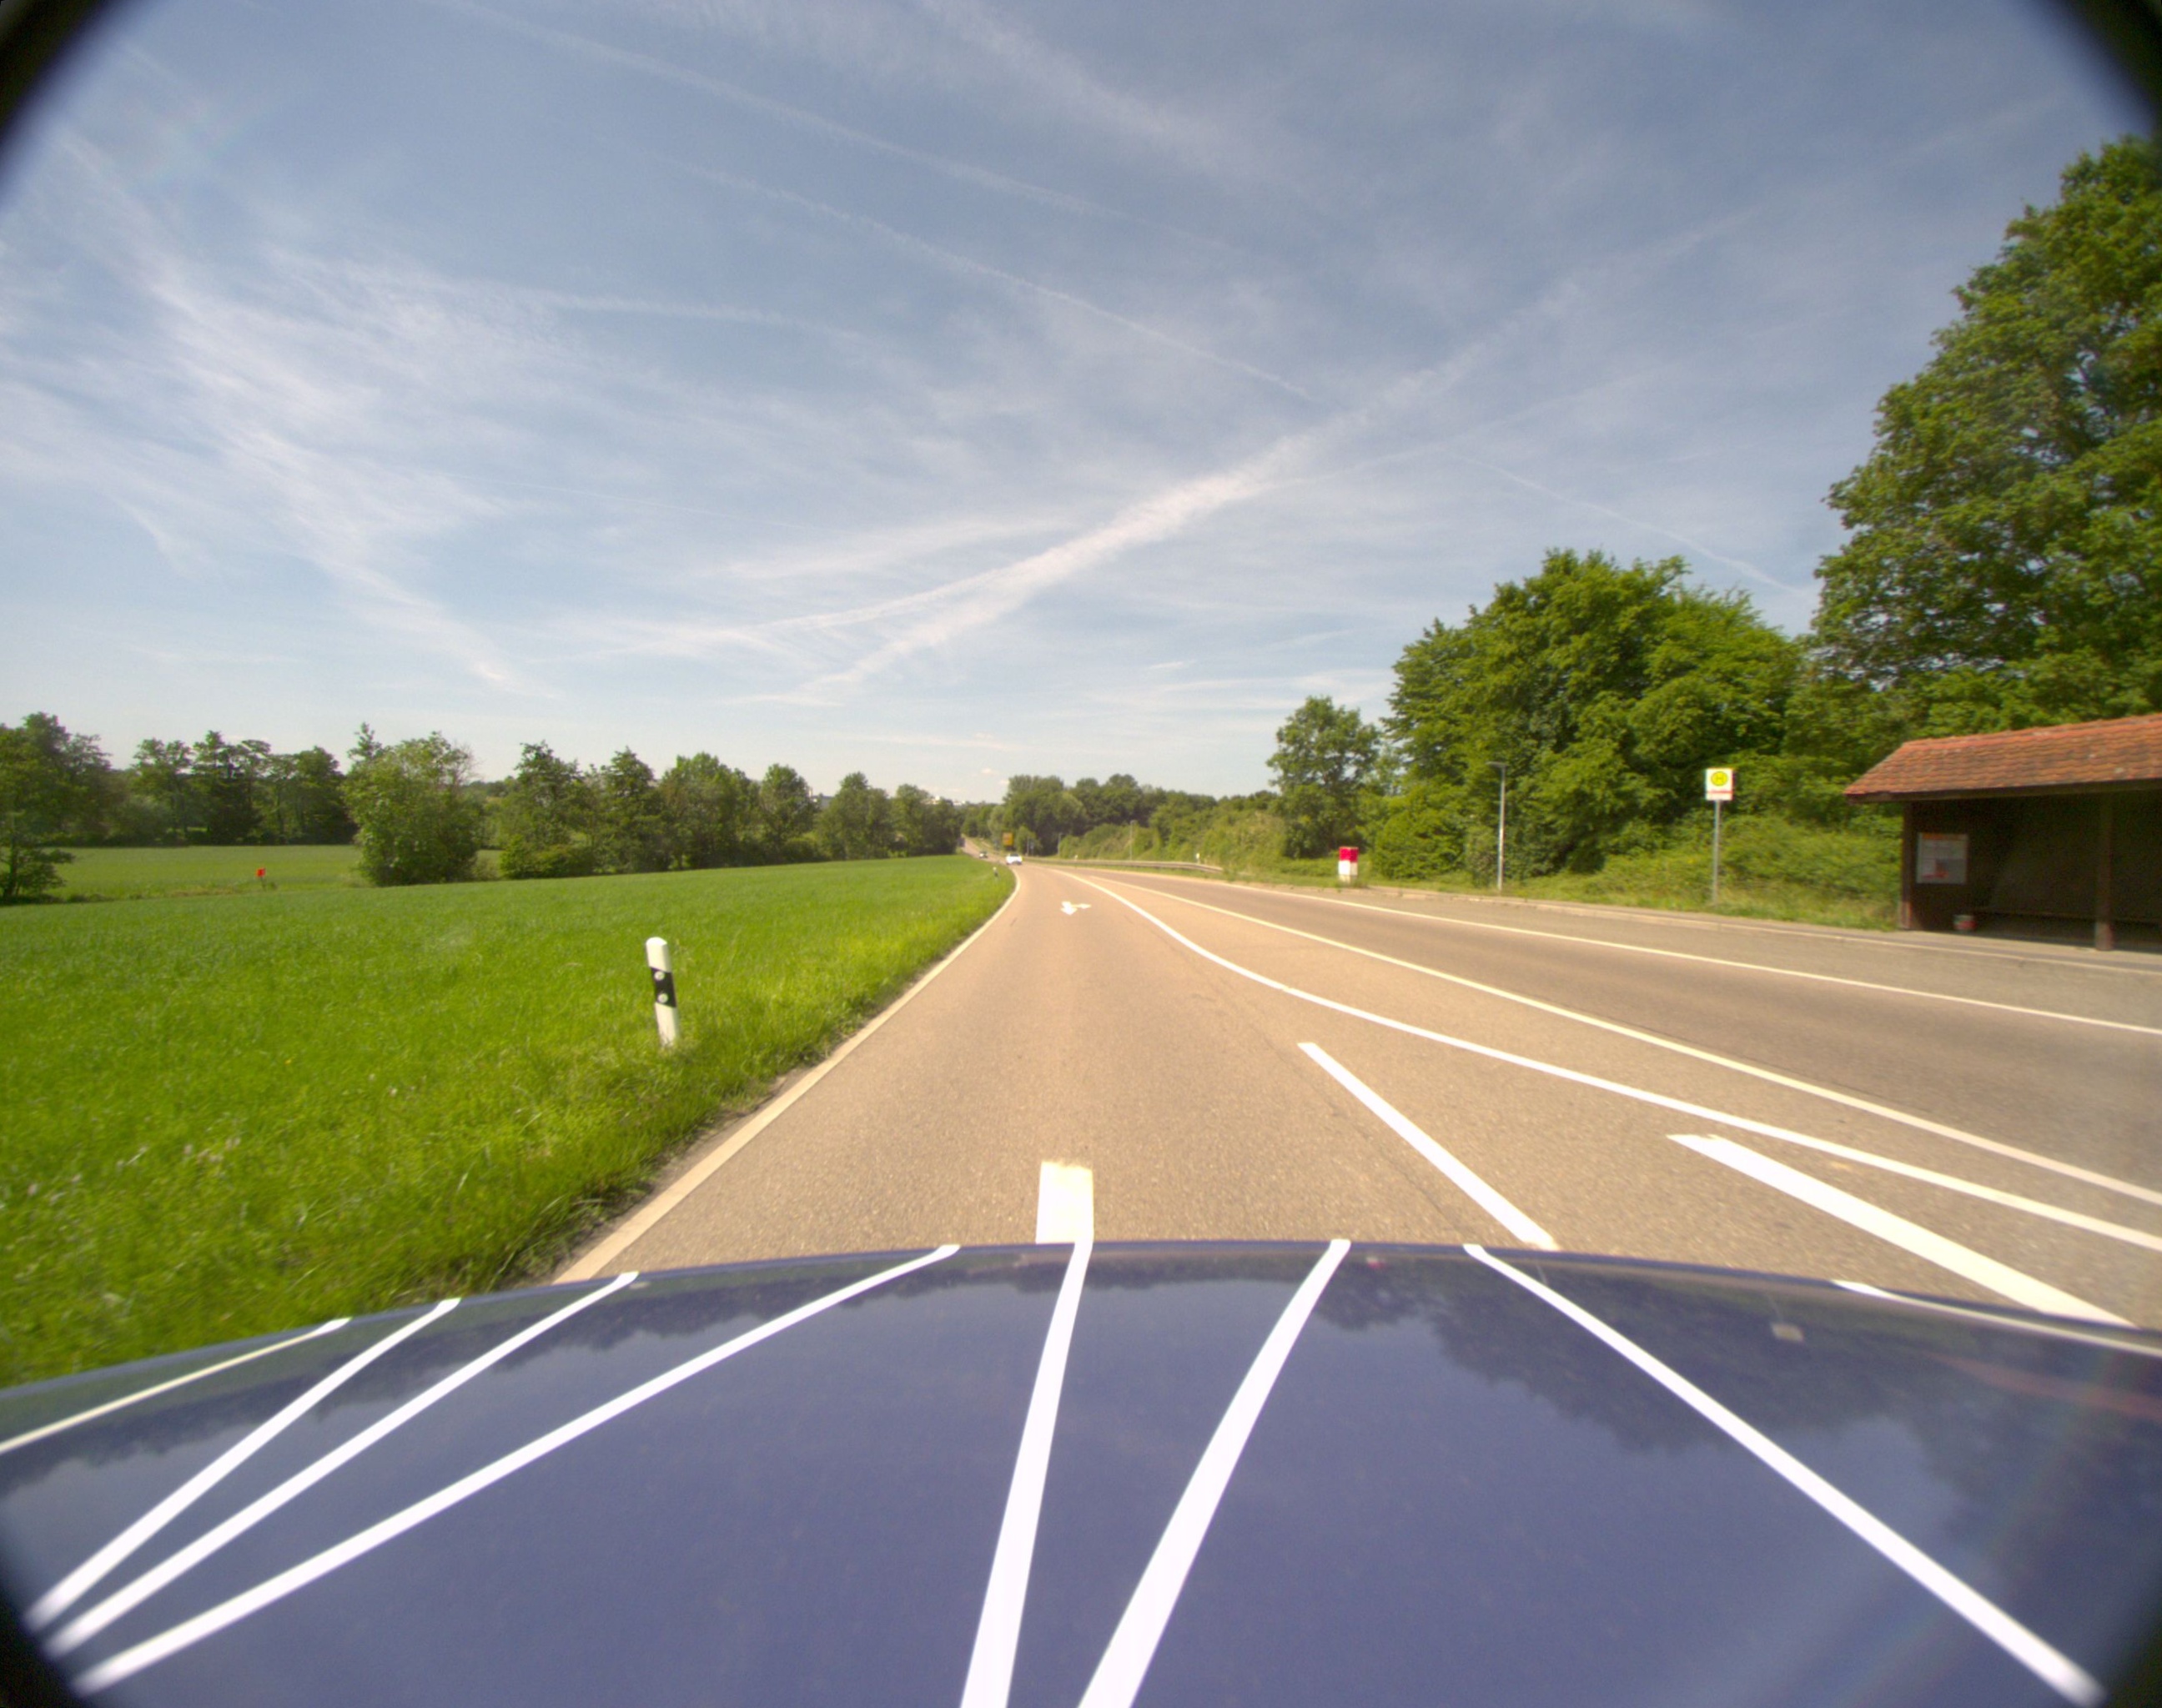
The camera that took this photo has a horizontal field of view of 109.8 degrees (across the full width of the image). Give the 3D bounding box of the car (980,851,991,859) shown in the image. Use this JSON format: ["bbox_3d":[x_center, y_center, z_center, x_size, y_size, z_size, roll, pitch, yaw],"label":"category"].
[{"bbox_3d":[-20.550,0.164,163.661,2.000,1.576,3.996,-1,0,-11],"label":"car"}]

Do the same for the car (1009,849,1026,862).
[{"bbox_3d":[-8.187,0.229,98.162,2.000,1.576,3.997,-1,0,-6],"label":"car"}]
